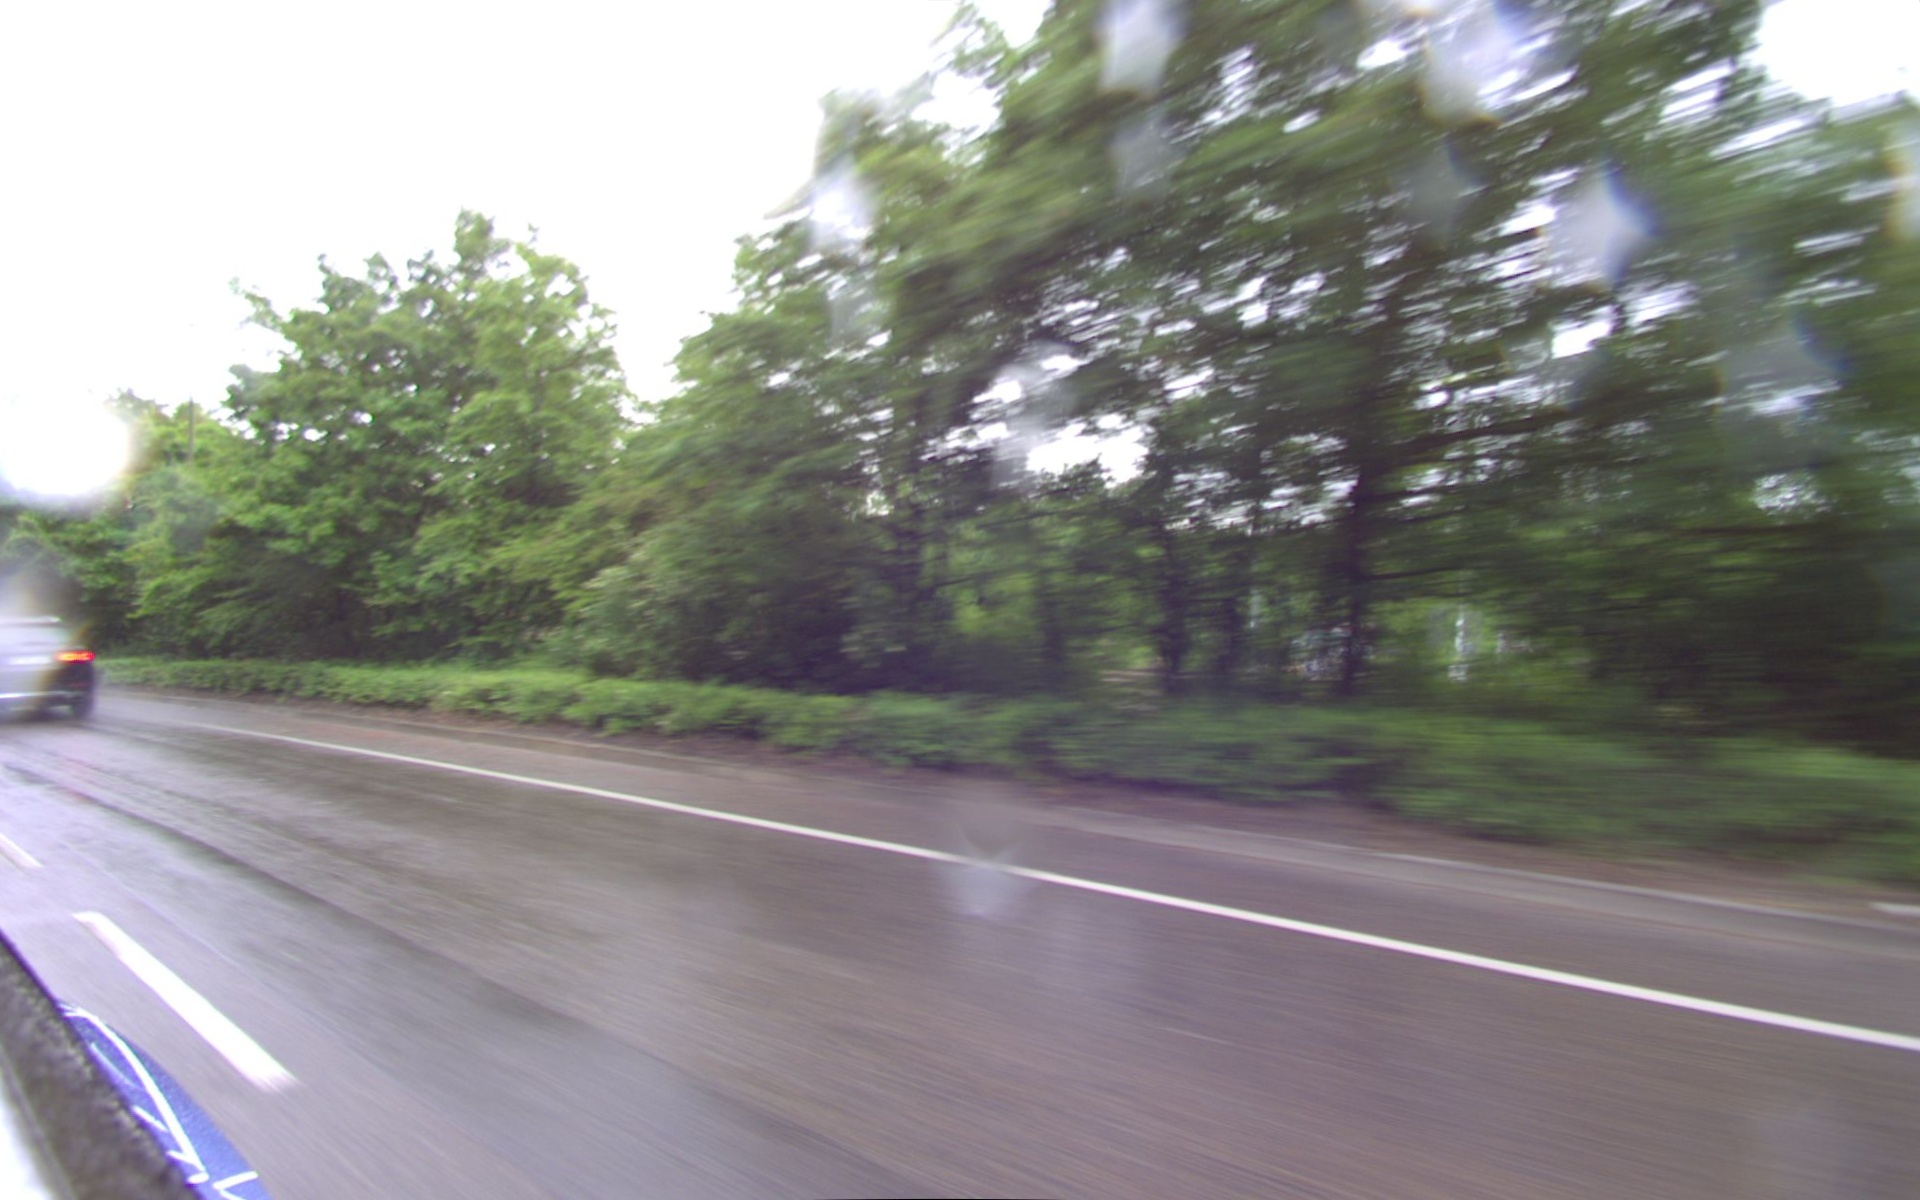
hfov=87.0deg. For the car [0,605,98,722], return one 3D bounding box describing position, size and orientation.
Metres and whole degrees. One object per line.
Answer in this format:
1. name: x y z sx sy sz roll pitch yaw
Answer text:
1. car: -15.752 1.000 16.489 4.328 1.719 1.812 -2 -1 39
